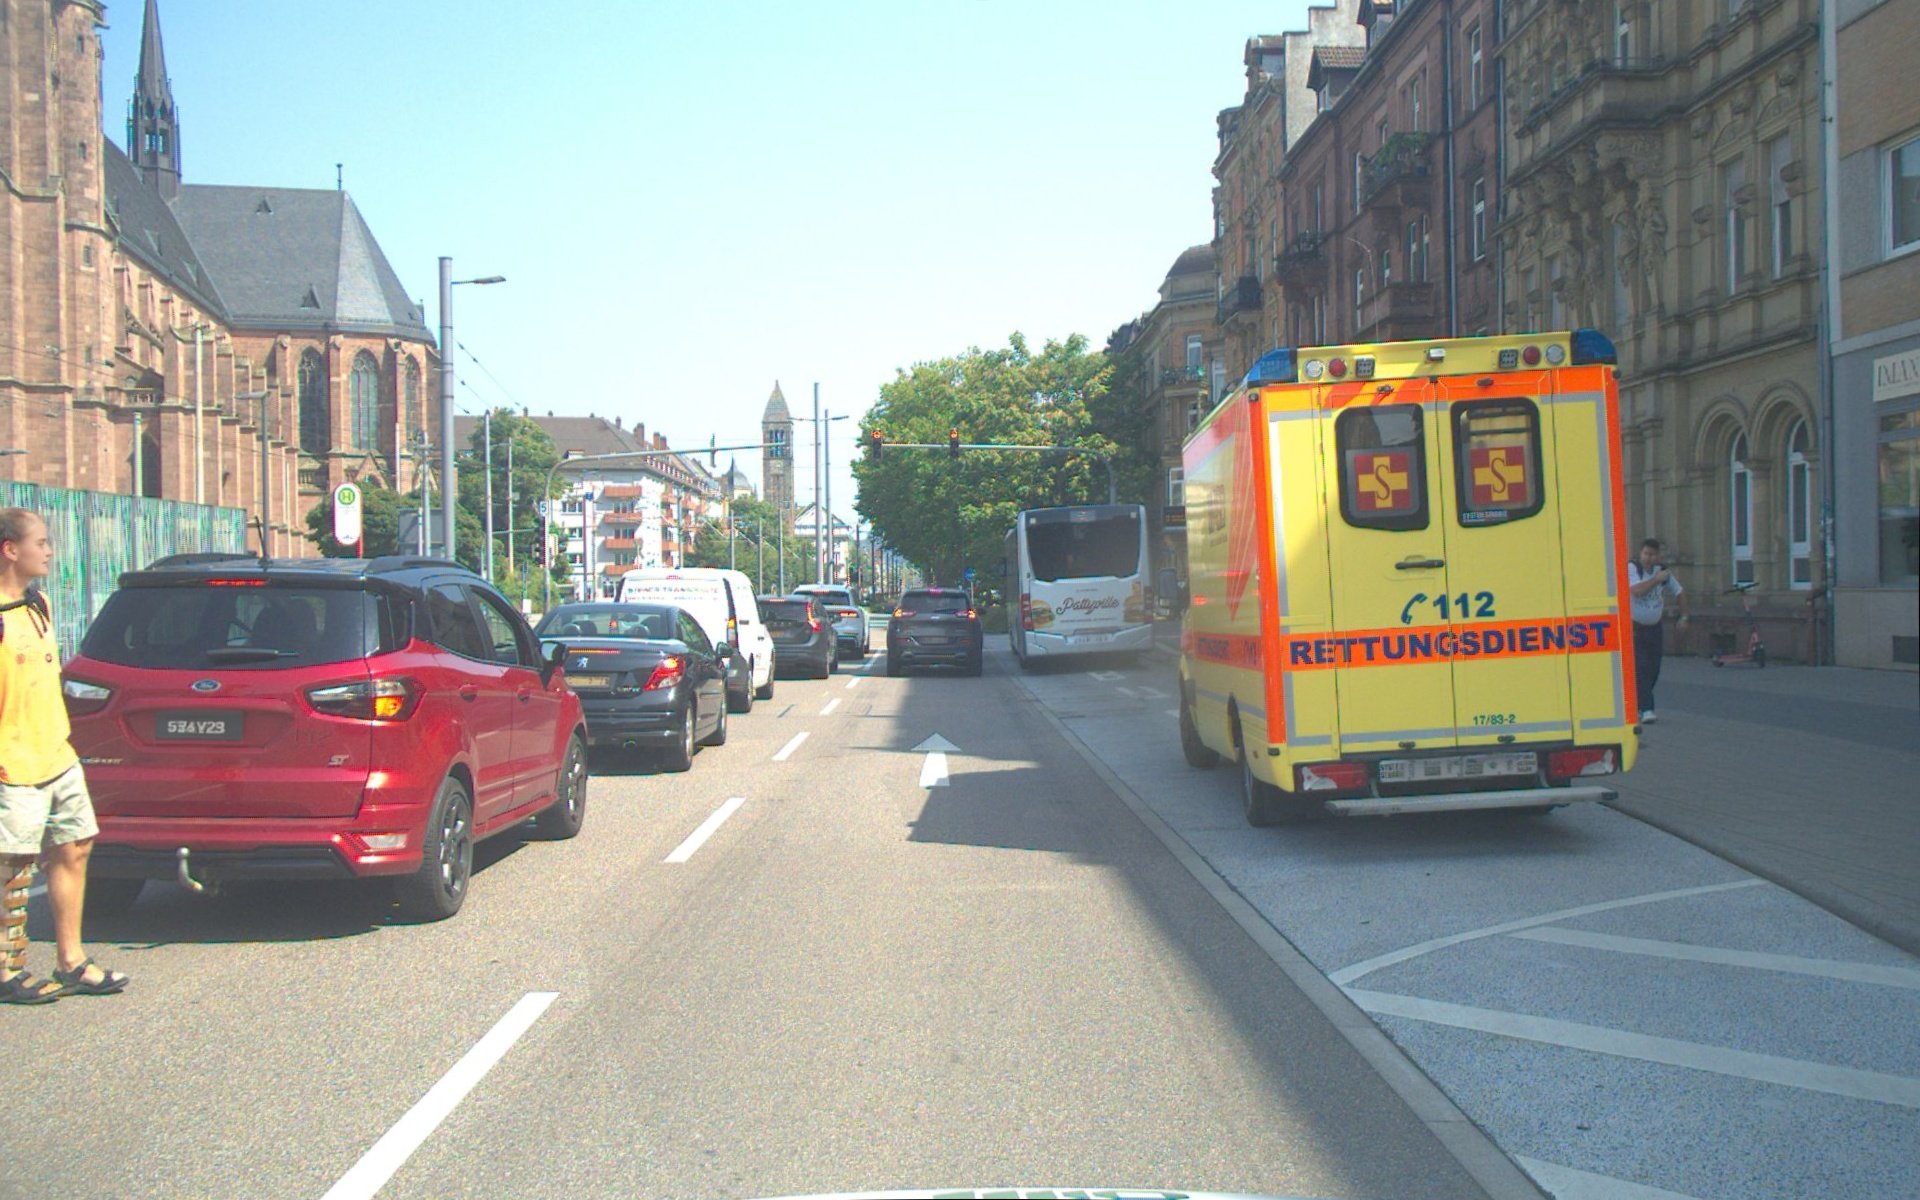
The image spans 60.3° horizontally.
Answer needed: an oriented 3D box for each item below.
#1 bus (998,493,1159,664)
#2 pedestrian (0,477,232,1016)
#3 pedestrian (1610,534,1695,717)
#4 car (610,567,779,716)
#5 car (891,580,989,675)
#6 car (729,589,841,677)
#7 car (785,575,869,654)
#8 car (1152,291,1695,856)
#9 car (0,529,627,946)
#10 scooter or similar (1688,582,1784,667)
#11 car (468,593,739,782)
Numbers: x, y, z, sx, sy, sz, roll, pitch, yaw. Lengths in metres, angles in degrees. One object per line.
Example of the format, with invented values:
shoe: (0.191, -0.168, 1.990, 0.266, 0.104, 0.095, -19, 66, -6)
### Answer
bus: (2.315, -0.424, 36.603, 2.482, 3.085, 12.434, -1, 0, -1)
pedestrian: (-3.295, 0.494, 5.879, 1.043, 1.782, 0.763, -1, -1, 1)
pedestrian: (6.602, 0.237, 15.759, 0.683, 1.696, 0.602, -1, 1, 25)
car: (-3.477, 0.522, 22.300, 1.754, 1.811, 3.998, -1, -1, -2)
car: (-0.433, 0.515, 32.149, 1.754, 1.707, 3.998, -1, -1, -2)
car: (-3.175, 0.594, 30.652, 1.754, 1.498, 3.998, -1, -1, -2)
car: (-3.047, 0.336, 38.458, 1.754, 1.728, 3.998, -1, -1, -2)
car: (2.803, -0.172, 11.648, 2.251, 2.939, 5.600, -2, 1, 1)
car: (-3.070, 0.571, 8.698, 1.726, 1.646, 4.082, -1, -1, 1)
scooter or similar: (11.491, 0.351, 24.521, 0.505, 1.217, 1.297, -1, 0, -20)
car: (-3.119, 0.690, 15.244, 1.754, 1.456, 3.998, -1, 0, -2)
